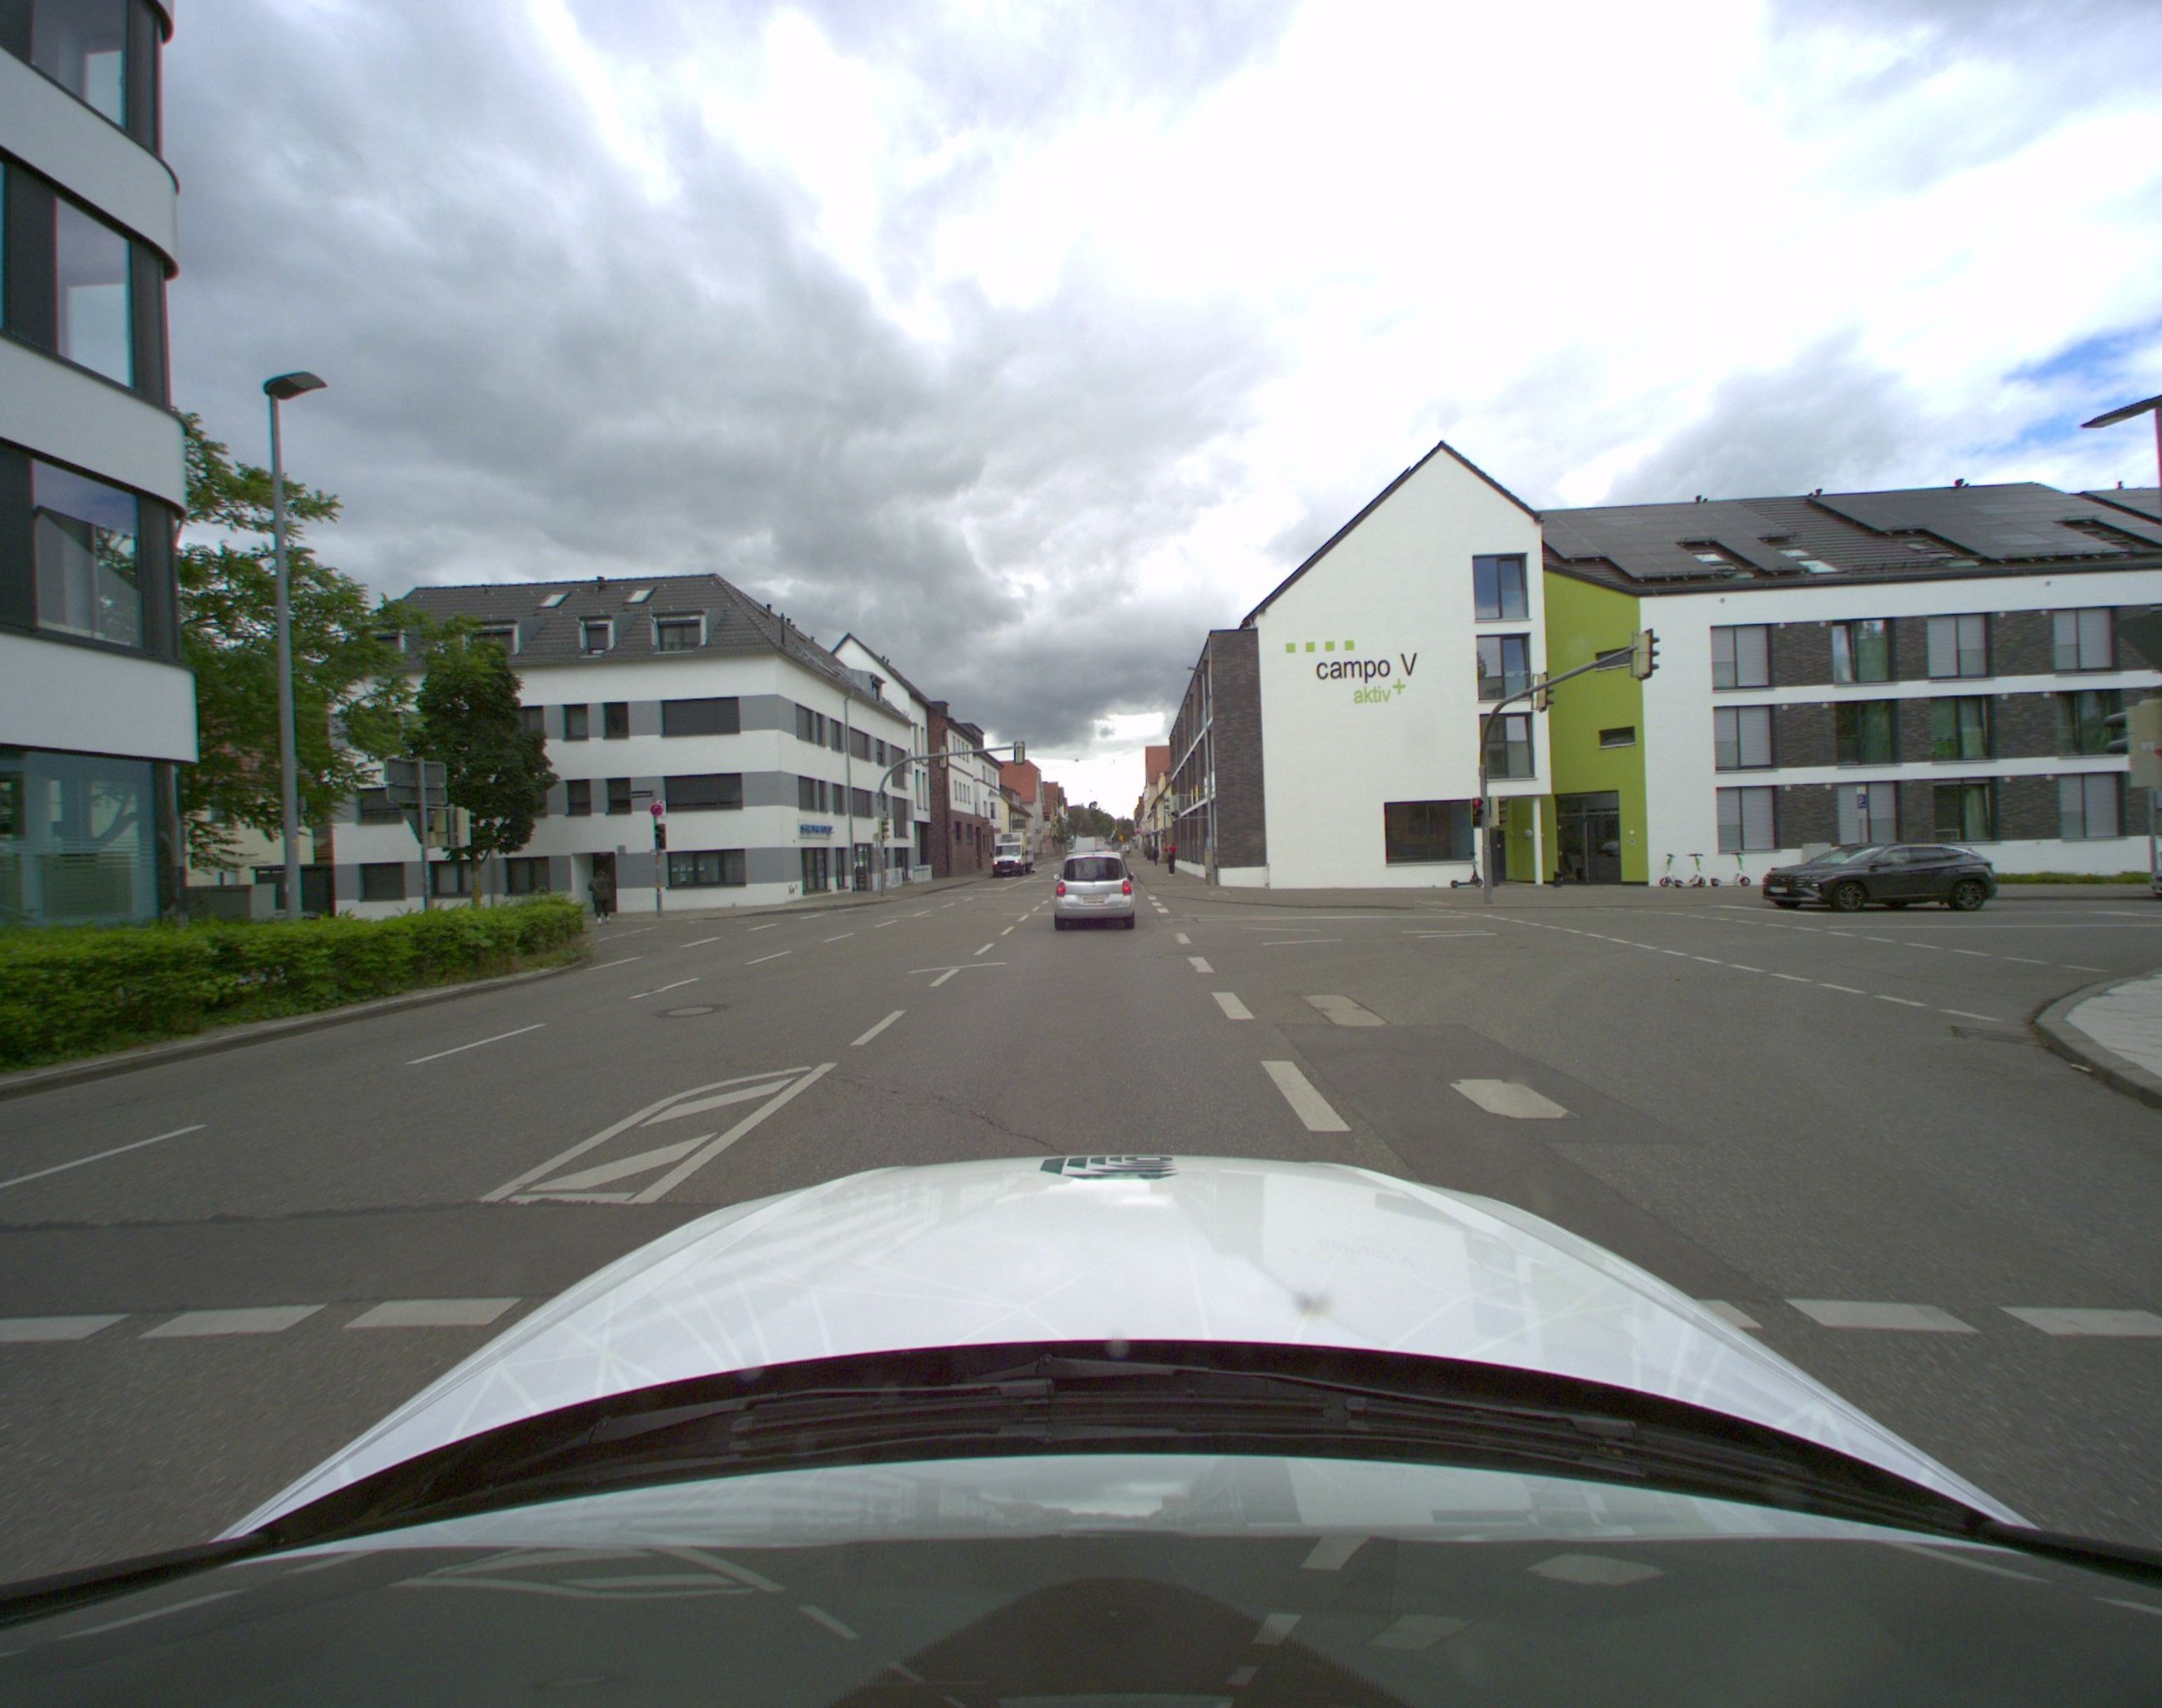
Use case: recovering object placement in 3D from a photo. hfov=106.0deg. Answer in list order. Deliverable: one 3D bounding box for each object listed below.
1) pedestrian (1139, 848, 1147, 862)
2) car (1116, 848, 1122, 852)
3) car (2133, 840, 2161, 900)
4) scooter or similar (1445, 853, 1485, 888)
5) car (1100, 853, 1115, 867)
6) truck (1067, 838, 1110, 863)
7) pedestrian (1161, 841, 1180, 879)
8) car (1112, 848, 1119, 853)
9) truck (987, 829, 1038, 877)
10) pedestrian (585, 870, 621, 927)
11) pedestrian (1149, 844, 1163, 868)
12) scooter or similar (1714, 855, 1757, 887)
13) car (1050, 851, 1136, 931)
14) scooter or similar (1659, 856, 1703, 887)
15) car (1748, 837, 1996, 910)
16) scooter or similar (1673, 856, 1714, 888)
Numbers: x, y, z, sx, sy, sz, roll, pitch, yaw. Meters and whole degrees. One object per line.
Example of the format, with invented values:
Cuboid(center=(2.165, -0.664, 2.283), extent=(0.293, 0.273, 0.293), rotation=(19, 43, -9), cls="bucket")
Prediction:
Cuboid(center=(8.159, 0.155, 107.037), extent=(0.886, 1.787, 0.785), rotation=(-4, 0, 2), cls="pedestrian")
Cuboid(center=(12.309, -1.292, 260.984), extent=(1.805, 1.354, 4.003), rotation=(-2, 0, 3), cls="car")
Cuboid(center=(31.933, 0.447, 22.079), extent=(4.393, 1.630, 1.809), rotation=(0, 0, 2), cls="car")
Cuboid(center=(13.742, 0.575, 29.134), extent=(1.225, 1.235, 0.407), rotation=(0, 0, 2), cls="scooter or similar")
Cuboid(center=(3.105, 0.671, 94.998), extent=(1.700, 1.579, 4.002), rotation=(0, 0, 2), cls="car")
Cuboid(center=(1.104, -0.513, 128.172), extent=(2.619, 3.857, 6.763), rotation=(-1, 0, -44), cls="truck")
Cuboid(center=(4.474, 0.296, 40.826), extent=(0.804, 1.787, 0.862), rotation=(-4, 0, 2), cls="pedestrian")
Cuboid(center=(9.651, -1.067, 229.409), extent=(1.805, 1.354, 4.003), rotation=(-2, 0, 3), cls="car")
Cuboid(center=(-4.664, -0.055, 56.934), extent=(2.426, 2.953, 8.368), rotation=(-3, 0, 2), cls="truck")
Cuboid(center=(-14.987, 1.371, 25.555), extent=(0.887, 1.669, 0.806), rotation=(-3, 3, -31), cls="pedestrian")
Cuboid(center=(5.827, 0.130, 63.381), extent=(0.886, 1.787, 0.785), rotation=(-4, 0, 2), cls="pedestrian")
Cuboid(center=(22.733, 0.594, 28.284), extent=(1.168, 1.079, 0.364), rotation=(0, 0, 5), cls="scooter or similar")
Cuboid(center=(0.306, 0.721, 18.100), extent=(1.700, 1.579, 4.002), rotation=(0, 0, 2), cls="car")
Cuboid(center=(21.114, 0.602, 28.675), extent=(1.221, 1.079, 0.365), rotation=(0, 0, 9), cls="scooter or similar")
Cuboid(center=(18.971, 0.434, 19.691), extent=(4.072, 1.659, 1.953), rotation=(0, 0, 2), cls="car")
Cuboid(center=(20.976, 0.601, 27.894), extent=(1.228, 1.079, 0.363), rotation=(0, 0, -10), cls="scooter or similar")
